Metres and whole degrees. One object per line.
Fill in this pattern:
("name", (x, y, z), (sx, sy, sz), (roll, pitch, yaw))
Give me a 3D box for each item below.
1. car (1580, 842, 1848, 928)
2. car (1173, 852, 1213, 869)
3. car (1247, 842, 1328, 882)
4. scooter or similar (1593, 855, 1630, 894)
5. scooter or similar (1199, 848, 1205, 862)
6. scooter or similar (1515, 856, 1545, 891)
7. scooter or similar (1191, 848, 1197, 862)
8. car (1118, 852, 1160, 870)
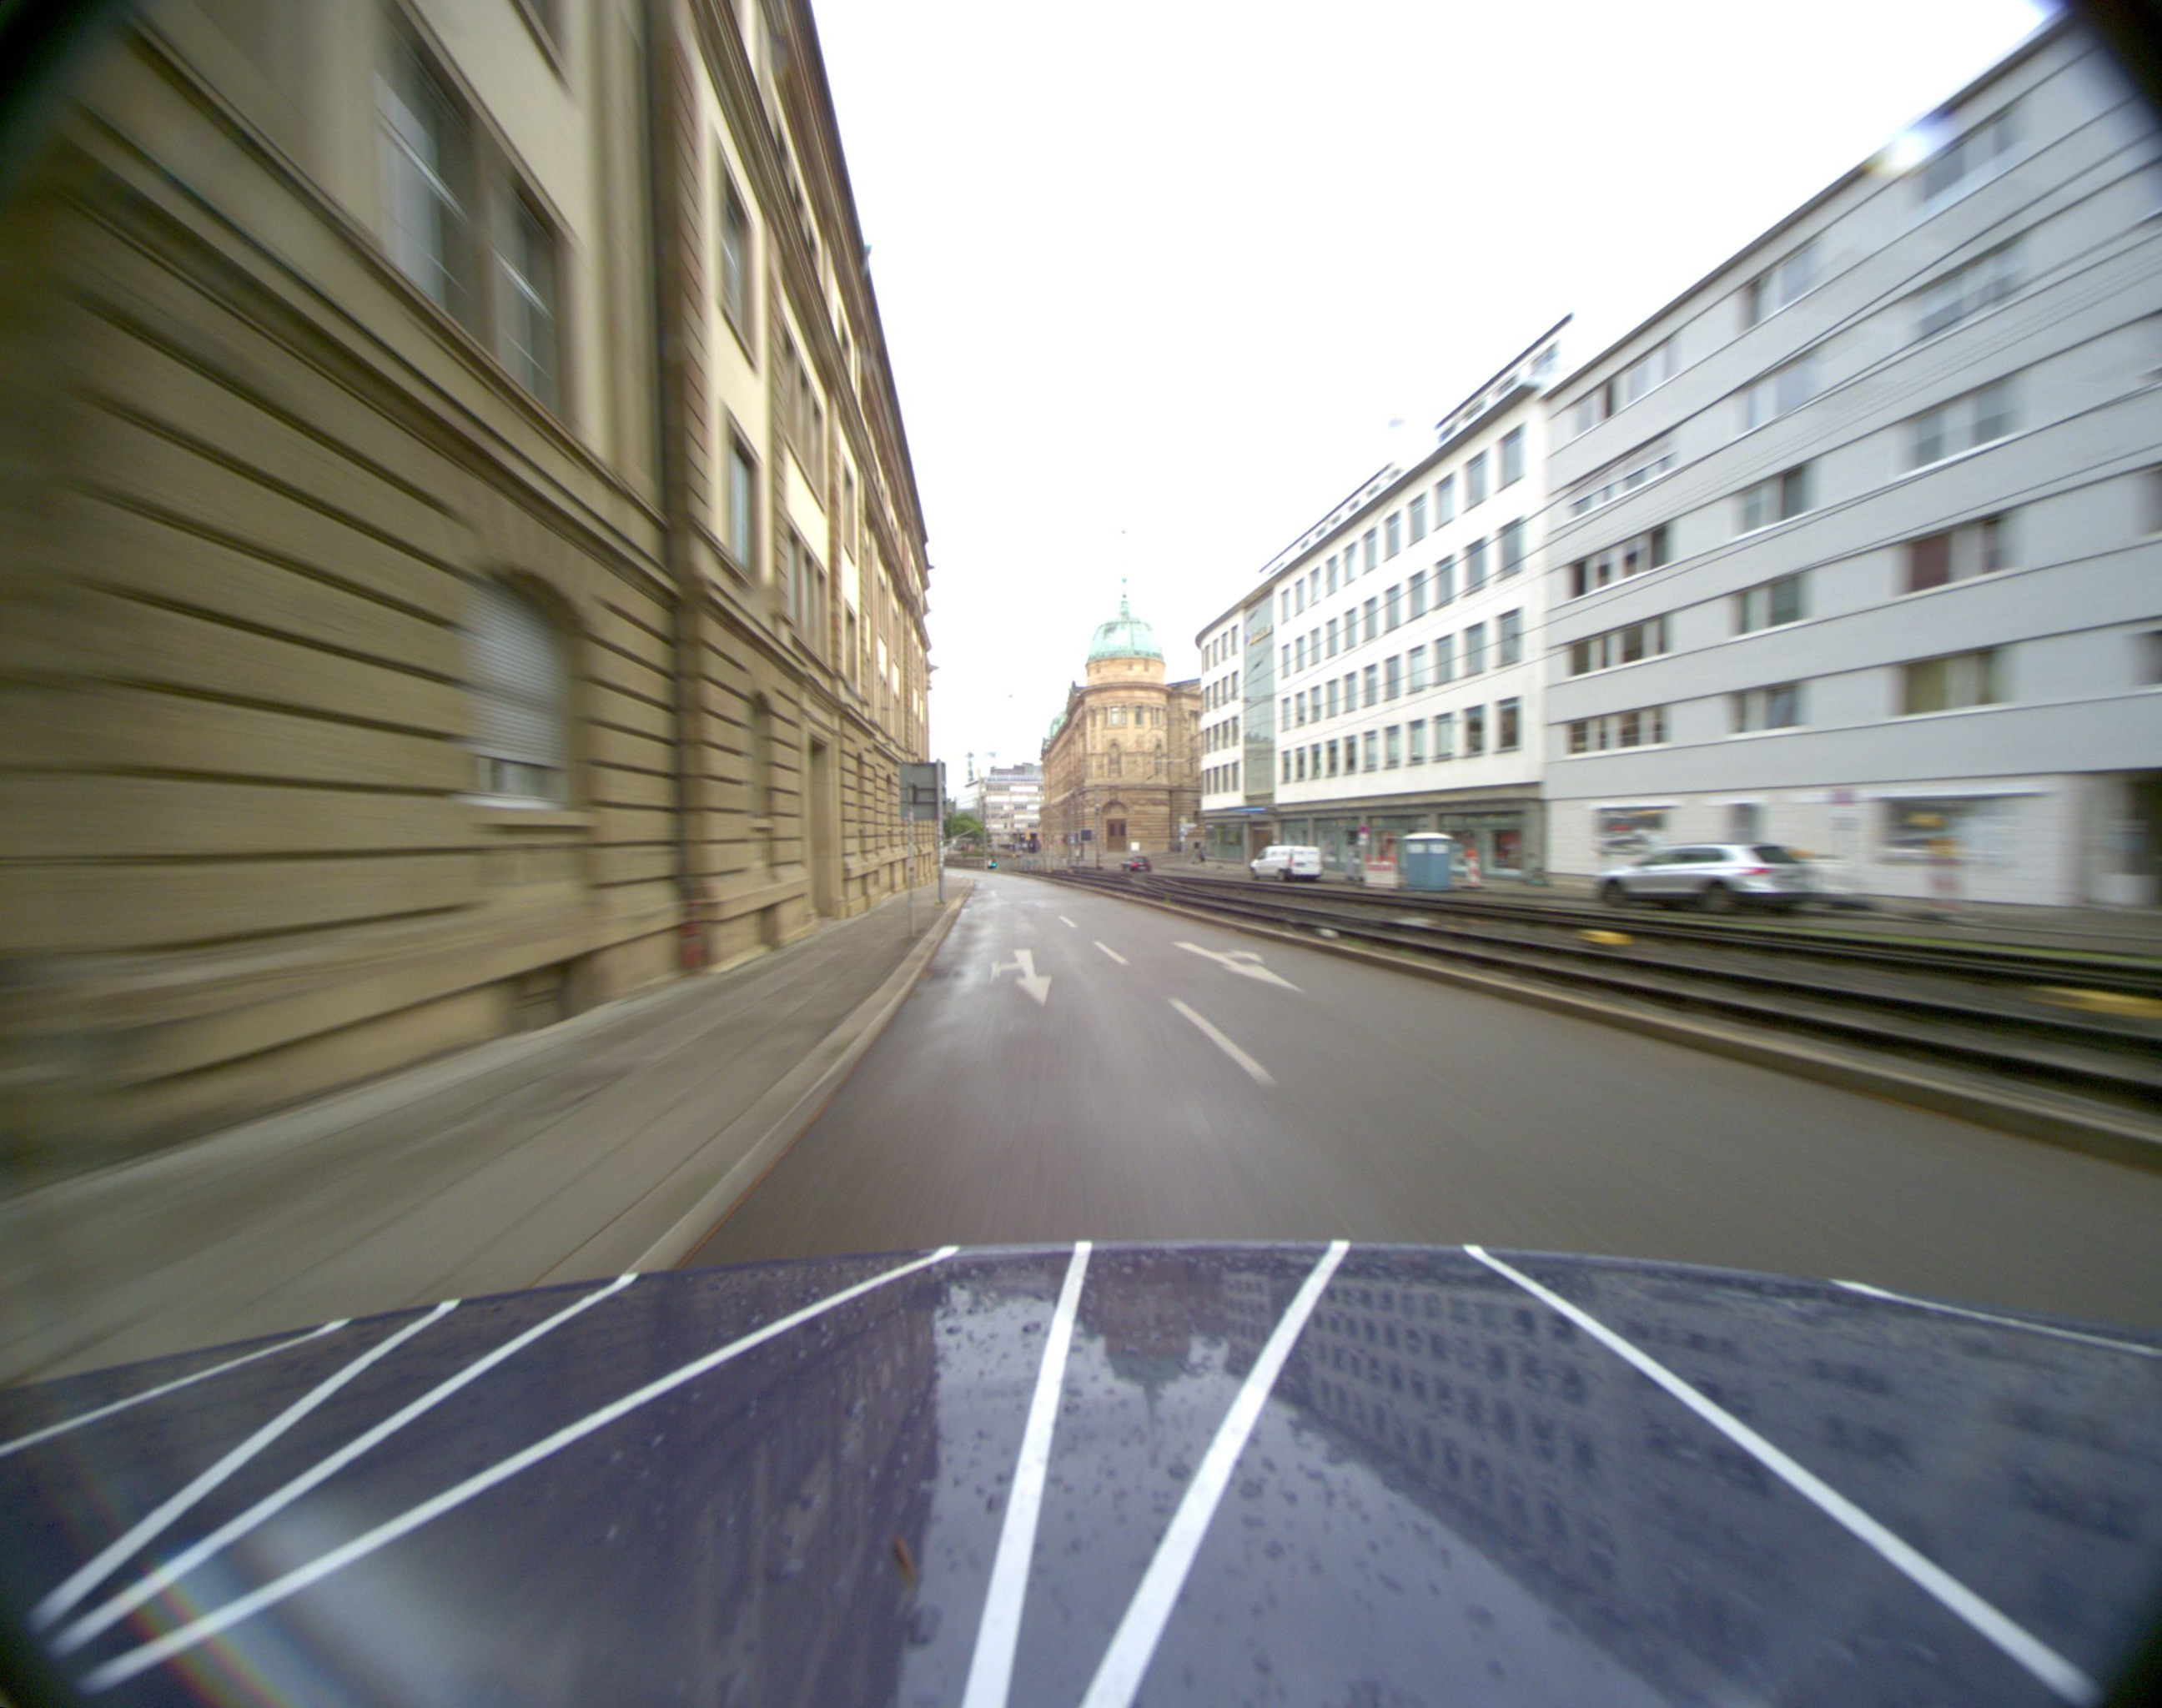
("car", (14.652, 0.651, 18.040), (2.000, 1.664, 4.691), (-3, 0, -9))
("car", (11.141, 0.652, 75.389), (1.780, 1.390, 4.334), (-1, 3, 41))
("car", (10.842, 0.348, 40.409), (2.000, 1.832, 5.125), (-3, 2, -12))
("scooter or similar", (17.194, 0.658, 24.632), (0.382, 1.196, 0.972), (-3, 2, -11))
("scooter or similar", (10.869, 0.062, 68.432), (0.410, 1.194, 1.561), (-2, 2, 13))
("scooter or similar", (16.392, 0.701, 27.750), (0.382, 1.196, 0.972), (-3, 2, -11))
("scooter or similar", (10.167, 0.088, 68.392), (0.410, 1.194, 1.560), (-2, 2, 6))
("car", (4.442, 0.536, 59.081), (2.001, 1.248, 4.689), (-1, 1, -12))
